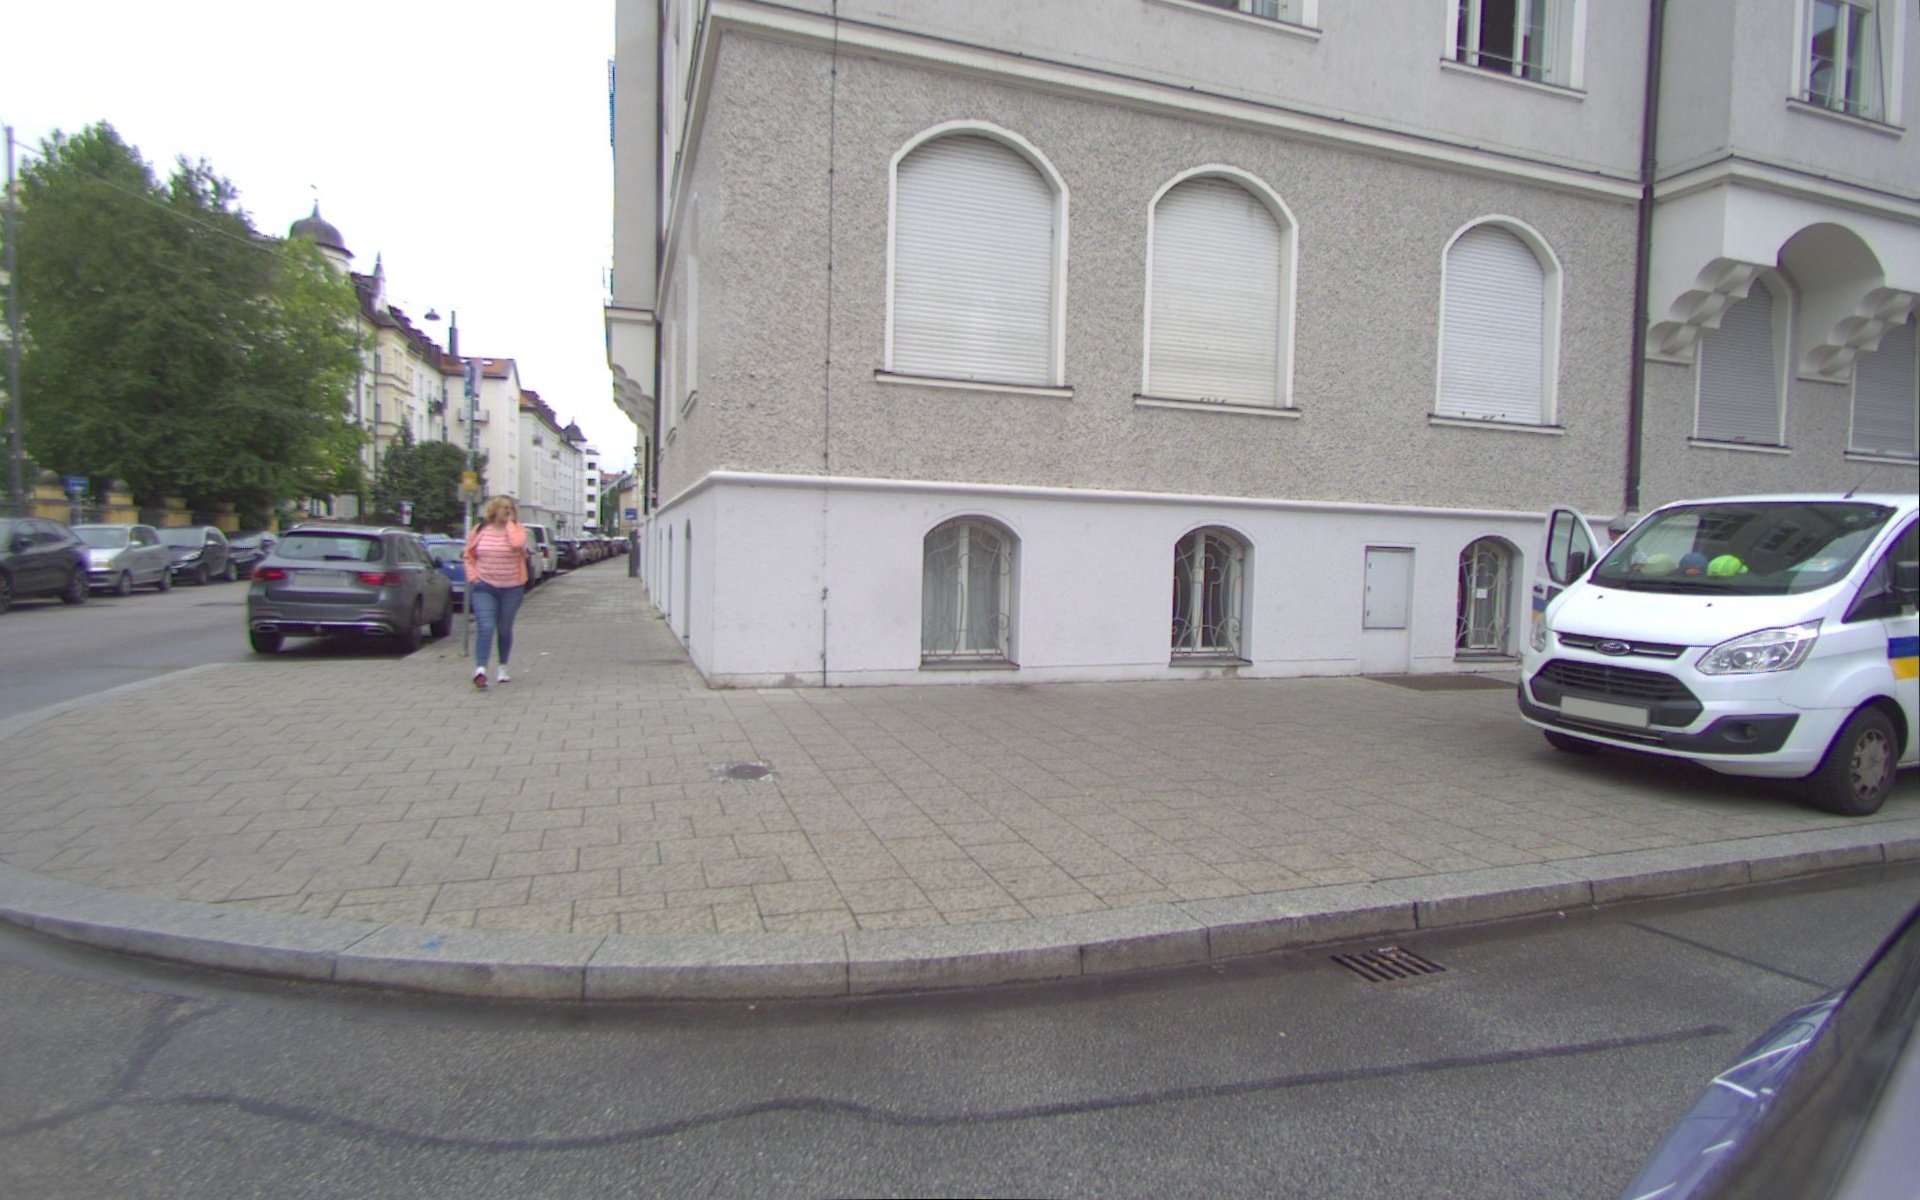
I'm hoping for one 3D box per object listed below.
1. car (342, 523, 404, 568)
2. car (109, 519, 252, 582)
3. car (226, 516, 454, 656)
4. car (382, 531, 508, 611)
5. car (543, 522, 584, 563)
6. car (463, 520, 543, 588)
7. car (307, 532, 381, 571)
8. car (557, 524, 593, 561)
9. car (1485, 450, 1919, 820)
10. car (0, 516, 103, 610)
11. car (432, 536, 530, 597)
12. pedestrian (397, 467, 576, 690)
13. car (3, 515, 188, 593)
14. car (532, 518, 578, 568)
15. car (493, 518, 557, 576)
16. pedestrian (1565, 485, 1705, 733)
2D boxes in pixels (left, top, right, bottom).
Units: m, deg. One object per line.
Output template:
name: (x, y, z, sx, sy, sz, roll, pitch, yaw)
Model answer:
car: (-26.548, -2.499, 45.921, 1.737, 1.908, 4.077, 0, 3, -20)
car: (-20.798, -1.356, 27.217, 1.787, 1.548, 4.415, 0, 3, -20)
car: (-8.420, -0.278, 14.181, 1.852, 1.636, 4.433, 1, 3, -20)
car: (-10.852, -0.683, 21.623, 1.852, 1.481, 4.433, 1, 3, -20)
car: (-21.457, -3.124, 54.895, 1.852, 2.061, 4.433, 1, 3, -20)
car: (-13.923, -1.437, 31.019, 1.852, 1.875, 4.433, 1, 3, -20)
car: (-24.629, -1.962, 40.598, 1.737, 1.462, 4.077, 0, 3, -20)
car: (-22.605, -3.390, 59.516, 1.852, 2.061, 4.433, 1, 3, -20)
car: (6.376, 0.116, 7.192, 4.824, 1.985, 1.927, 0, 4, -22)
car: (-17.138, -0.705, 17.755, 1.787, 1.548, 4.584, 0, 3, -21)
car: (-12.256, -0.929, 26.156, 1.852, 1.391, 4.433, 1, 3, -20)
pedestrian: (-4.257, -0.204, 9.223, 1.187, 1.895, 1.093, 1, 3, -6)
car: (-19.193, -1.061, 22.726, 1.787, 1.548, 4.415, 0, 3, -21)
car: (-19.953, -2.833, 49.988, 1.852, 2.284, 4.433, 1, 3, -20)
car: (-15.741, -1.940, 36.776, 1.852, 1.906, 4.433, 1, 3, -20)
pedestrian: (5.423, 0.055, 8.175, 0.666, 1.910, 0.591, 2, 3, 9)
